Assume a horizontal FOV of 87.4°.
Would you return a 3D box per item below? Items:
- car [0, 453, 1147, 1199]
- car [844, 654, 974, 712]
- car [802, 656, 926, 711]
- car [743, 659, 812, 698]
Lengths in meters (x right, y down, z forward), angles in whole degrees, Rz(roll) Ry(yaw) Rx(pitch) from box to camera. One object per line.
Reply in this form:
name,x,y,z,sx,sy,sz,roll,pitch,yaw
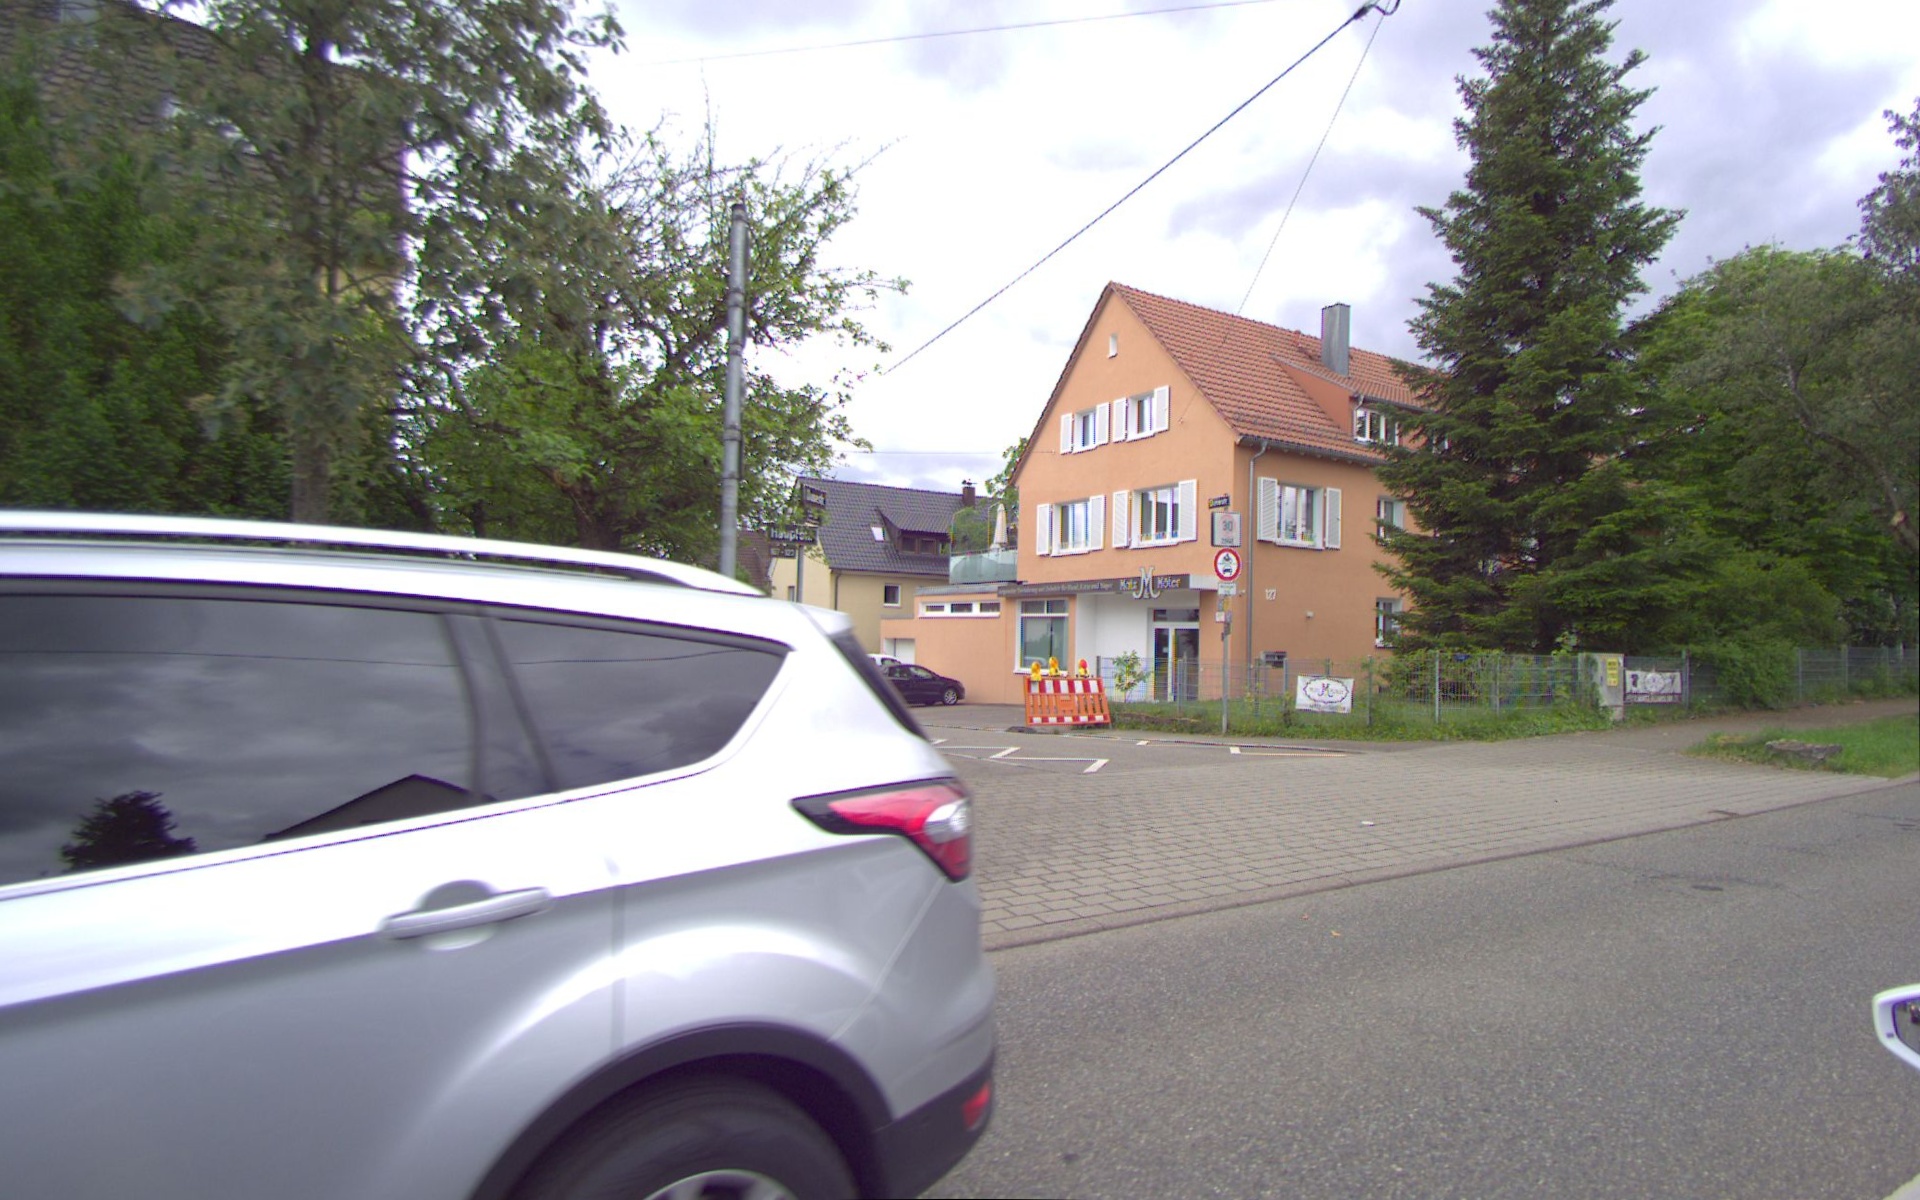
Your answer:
car,-1.751,0.728,1.864,4.056,1.728,1.732,1,-4,-33
car,-1.700,2.725,33.528,3.954,1.784,1.848,1,-4,-31
car,-3.370,2.908,35.485,4.013,1.784,1.812,1,-4,-31
car,-8.615,3.634,47.142,1.872,1.639,3.966,1,-2,-32
